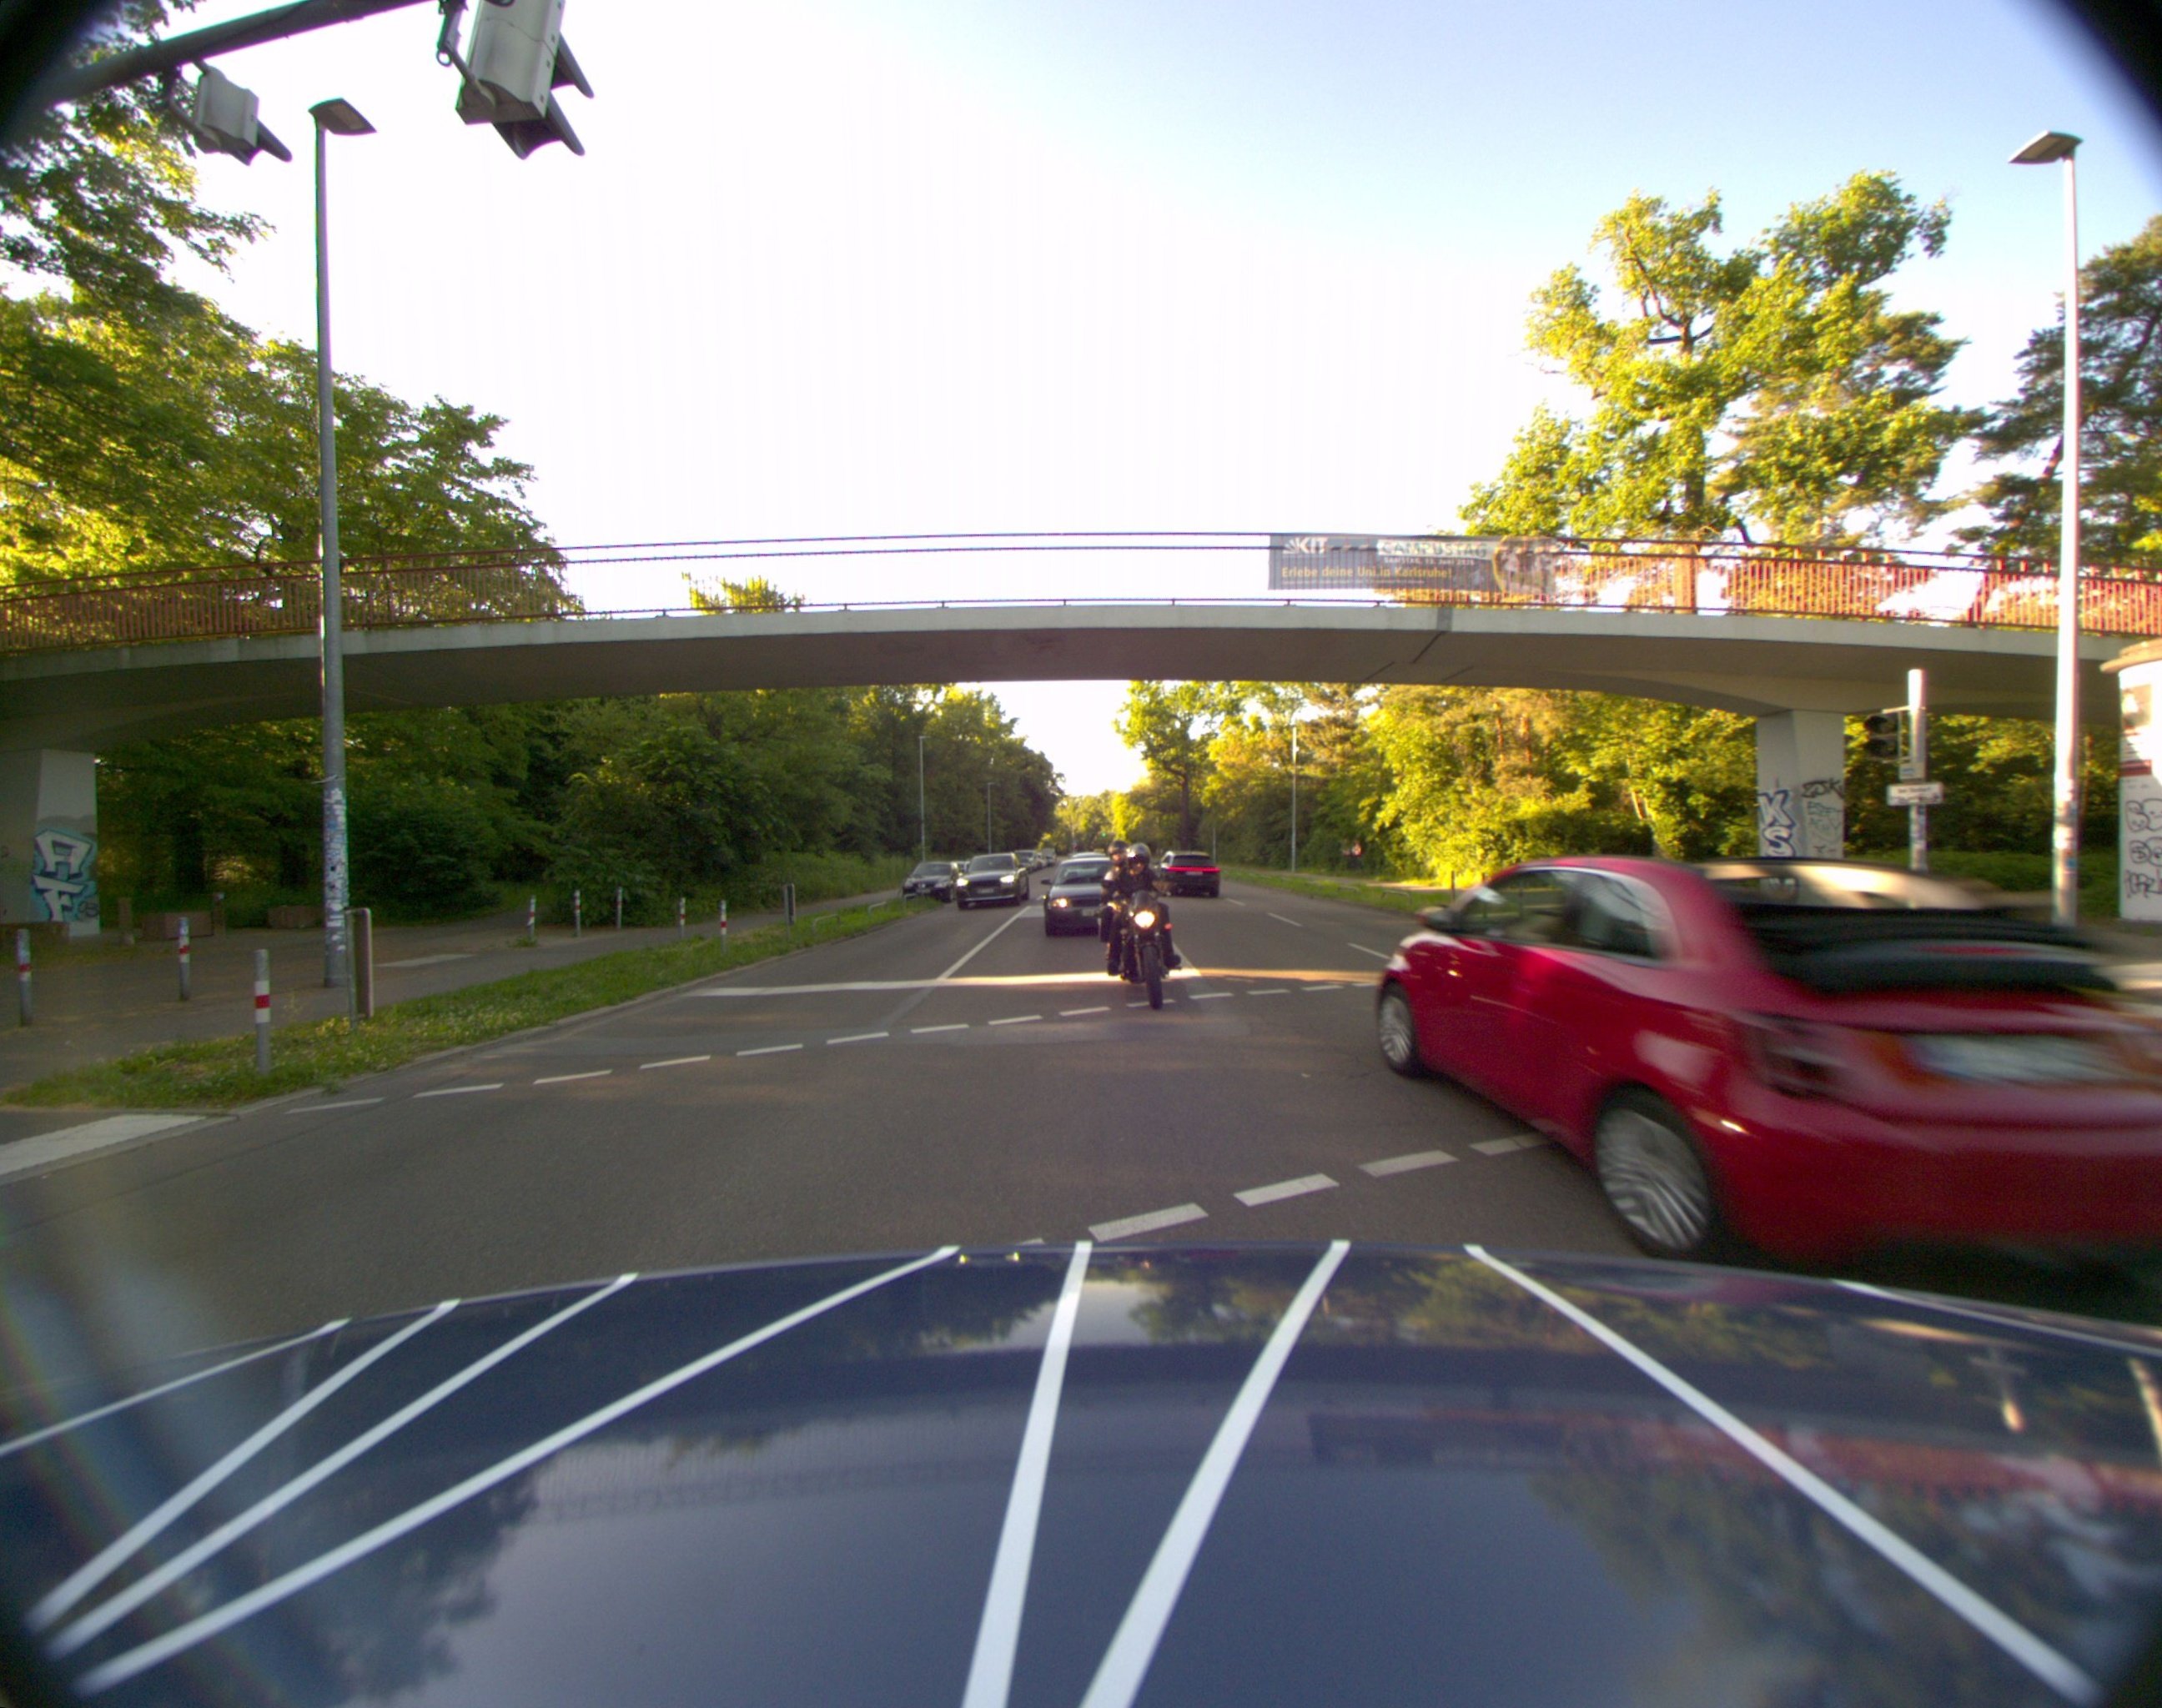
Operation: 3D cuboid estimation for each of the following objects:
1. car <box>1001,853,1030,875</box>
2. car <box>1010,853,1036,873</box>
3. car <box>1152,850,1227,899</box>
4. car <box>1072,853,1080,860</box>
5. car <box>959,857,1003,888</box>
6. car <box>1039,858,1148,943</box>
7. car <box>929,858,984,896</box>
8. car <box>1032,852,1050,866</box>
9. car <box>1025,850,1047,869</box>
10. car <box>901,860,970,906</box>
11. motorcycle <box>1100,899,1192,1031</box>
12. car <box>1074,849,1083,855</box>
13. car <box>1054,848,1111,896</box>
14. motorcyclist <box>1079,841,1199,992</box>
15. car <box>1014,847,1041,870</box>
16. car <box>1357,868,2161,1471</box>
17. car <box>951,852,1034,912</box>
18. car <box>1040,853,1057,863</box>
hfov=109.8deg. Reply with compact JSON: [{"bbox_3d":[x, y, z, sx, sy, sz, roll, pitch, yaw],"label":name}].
[{"bbox_3d":[-4.841,0.713,56.655,1.737,1.499,4.395,0,1,1],"label":"car"},{"bbox_3d":[-4.667,0.684,61.912,1.737,1.499,4.395,0,1,1],"label":"car"},{"bbox_3d":[3.617,0.625,26.095,1.966,1.497,4.646,0,1,1],"label":"car"},{"bbox_3d":[-0.897,0.517,147.120,1.465,1.237,4.000,-1,1,1],"label":"car"},{"bbox_3d":[-5.209,0.940,40.045,1.737,1.499,4.153,0,1,1],"label":"car"},{"bbox_3d":[0.243,0.810,15.081,1.867,1.381,4.000,-1,1,1],"label":"car"},{"bbox_3d":[-5.349,0.938,33.107,1.720,1.499,3.975,0,1,1],"label":"car"},{"bbox_3d":[-4.853,0.582,92.276,1.894,1.537,4.395,0,1,0],"label":"car"},{"bbox_3d":[-4.764,0.549,81.051,1.951,1.964,4.395,0,1,1],"label":"car"},{"bbox_3d":[-5.340,1.007,28.309,1.694,1.499,4.125,-1,1,1],"label":"car"},{"bbox_3d":[0.644,1.079,8.161,0.807,0.908,2.712,-1,2,3],"label":"motorcycle"},{"bbox_3d":[-0.503,-0.456,168.293,1.894,1.491,4.395,0,1,0],"label":"car"},{"bbox_3d":[0.051,0.618,29.829,1.998,1.625,5.885,-1,1,0],"label":"car"},{"bbox_3d":[0.591,0.598,8.154,1.138,1.420,1.566,-1,3,2],"label":"motorcyclist"},{"bbox_3d":[-4.735,0.346,68.402,2.017,1.964,5.041,0,1,1],"label":"car"},{"bbox_3d":[2.877,0.843,3.753,1.755,1.448,3.639,0,1,1],"label":"car"},{"bbox_3d":[-2.750,0.827,24.564,1.993,1.598,4.362,-4,1,1],"label":"car"},{"bbox_3d":[-4.174,0.487,97.530,1.915,1.213,3.999,-1,1,0],"label":"car"}]
